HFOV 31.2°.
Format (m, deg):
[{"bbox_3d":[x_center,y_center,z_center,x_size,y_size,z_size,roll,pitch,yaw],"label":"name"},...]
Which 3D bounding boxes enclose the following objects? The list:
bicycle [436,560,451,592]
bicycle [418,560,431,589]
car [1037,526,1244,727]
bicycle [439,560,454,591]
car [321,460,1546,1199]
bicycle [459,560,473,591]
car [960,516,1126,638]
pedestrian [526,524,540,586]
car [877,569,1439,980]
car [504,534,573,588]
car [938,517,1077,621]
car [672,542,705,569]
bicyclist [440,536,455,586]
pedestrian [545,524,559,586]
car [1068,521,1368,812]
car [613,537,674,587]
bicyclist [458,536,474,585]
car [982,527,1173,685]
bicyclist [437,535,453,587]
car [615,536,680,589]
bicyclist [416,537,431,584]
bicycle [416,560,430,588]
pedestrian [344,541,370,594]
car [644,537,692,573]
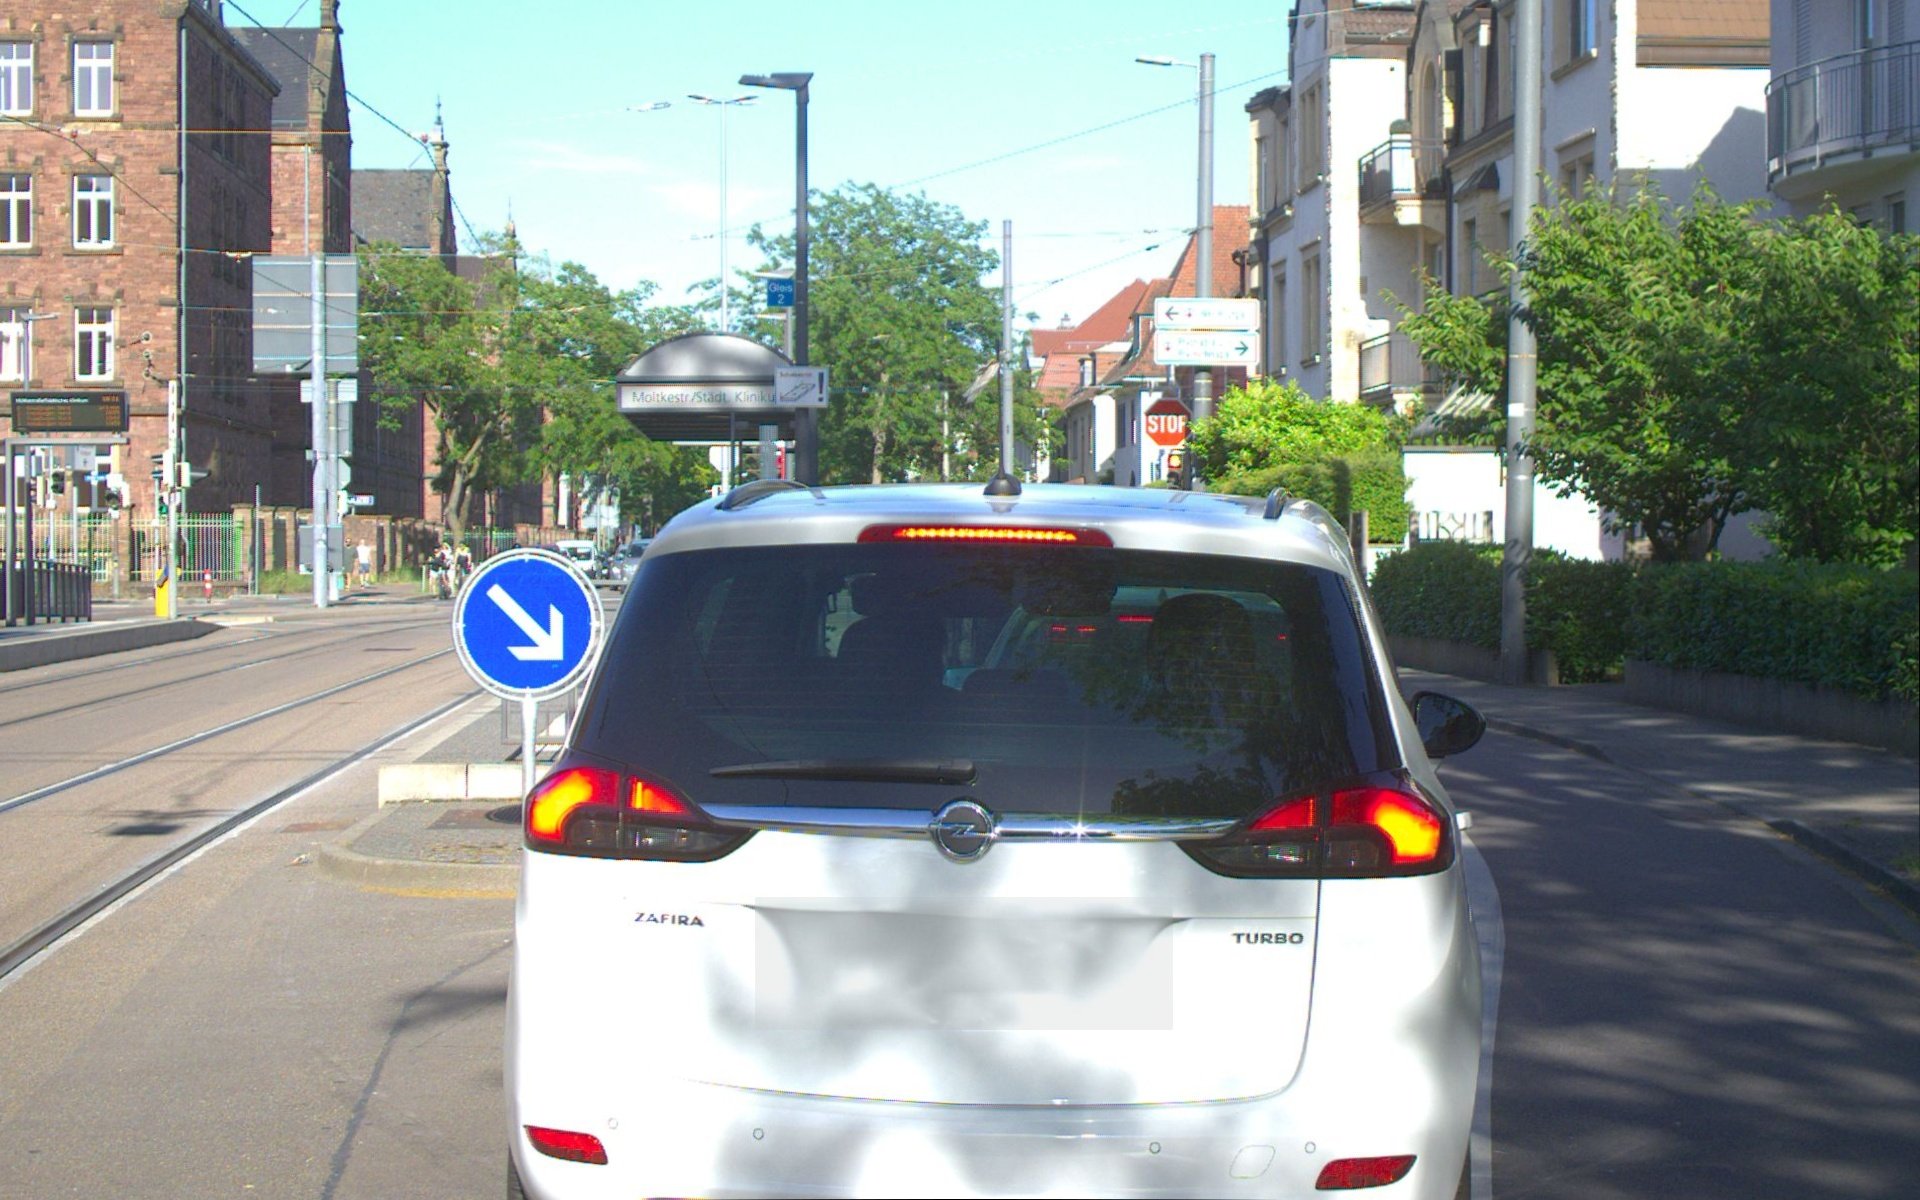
[{"bbox_3d":[-15.480,-0.715,103.085,0.344,0.946,1.160,1,0,-4],"label":"bicycle"},{"bbox_3d":[-17.645,-0.847,113.313,0.344,0.946,0.997,1,0,-4],"label":"bicycle"},{"bbox_3d":[1.496,0.179,29.258,1.637,1.595,3.854,0,1,2],"label":"car"},{"bbox_3d":[-15.927,-0.756,106.618,0.344,0.946,0.997,1,0,-4],"label":"bicycle"},{"bbox_3d":[0.140,0.582,7.605,1.994,1.639,3.992,1,1,6],"label":"car"},{"bbox_3d":[-15.695,-0.779,109.167,0.344,0.946,0.997,1,0,-4],"label":"bicycle"},{"bbox_3d":[1.022,-0.318,44.302,1.993,1.497,4.000,0,1,-1],"label":"car"},{"bbox_3d":[-13.905,-1.477,111.982,0.444,2.007,0.496,0,1,-4],"label":"pedestrian"},{"bbox_3d":[0.748,0.589,13.985,1.953,1.392,4.000,0,1,2],"label":"car"},{"bbox_3d":[-13.114,-1.224,107.090,1.993,1.623,4.001,0,1,-5],"label":"car"},{"bbox_3d":[0.669,-0.487,51.762,1.993,1.497,4.000,0,1,-1],"label":"car"},{"bbox_3d":[-16.576,-2.749,209.765,1.993,1.623,3.989,0,1,-5],"label":"car"},{"bbox_3d":[-15.890,-1.221,106.568,0.444,1.548,0.496,0,1,-4],"label":"bicyclist"},{"bbox_3d":[-13.316,-1.471,112.247,0.444,2.007,0.496,0,1,-4],"label":"pedestrian"},{"bbox_3d":[1.478,0.331,20.831,1.637,1.595,3.854,0,1,2],"label":"car"},{"bbox_3d":[-10.531,-1.270,114.419,1.993,1.623,4.001,0,1,-5],"label":"car"},{"bbox_3d":[-15.686,-1.244,109.153,0.444,1.548,0.496,0,1,-4],"label":"bicyclist"},{"bbox_3d":[1.178,0.026,36.182,1.830,1.574,4.010,0,1,-1],"label":"car"},{"bbox_3d":[-15.472,-1.183,103.286,0.444,1.548,0.743,0,1,-4],"label":"bicyclist"},{"bbox_3d":[-9.734,-1.187,107.313,1.993,1.623,4.001,0,1,-5],"label":"car"},{"bbox_3d":[-17.662,-1.313,113.264,0.444,1.548,0.496,0,1,-4],"label":"bicyclist"},{"bbox_3d":[-17.984,-0.870,115.142,0.344,0.946,0.997,1,0,-4],"label":"bicycle"},{"bbox_3d":[-19.617,-1.053,111.840,0.734,1.708,0.706,1,0,-5],"label":"pedestrian"},{"bbox_3d":[-13.144,-2.035,154.898,1.993,1.623,4.001,0,1,-2],"label":"car"}]
